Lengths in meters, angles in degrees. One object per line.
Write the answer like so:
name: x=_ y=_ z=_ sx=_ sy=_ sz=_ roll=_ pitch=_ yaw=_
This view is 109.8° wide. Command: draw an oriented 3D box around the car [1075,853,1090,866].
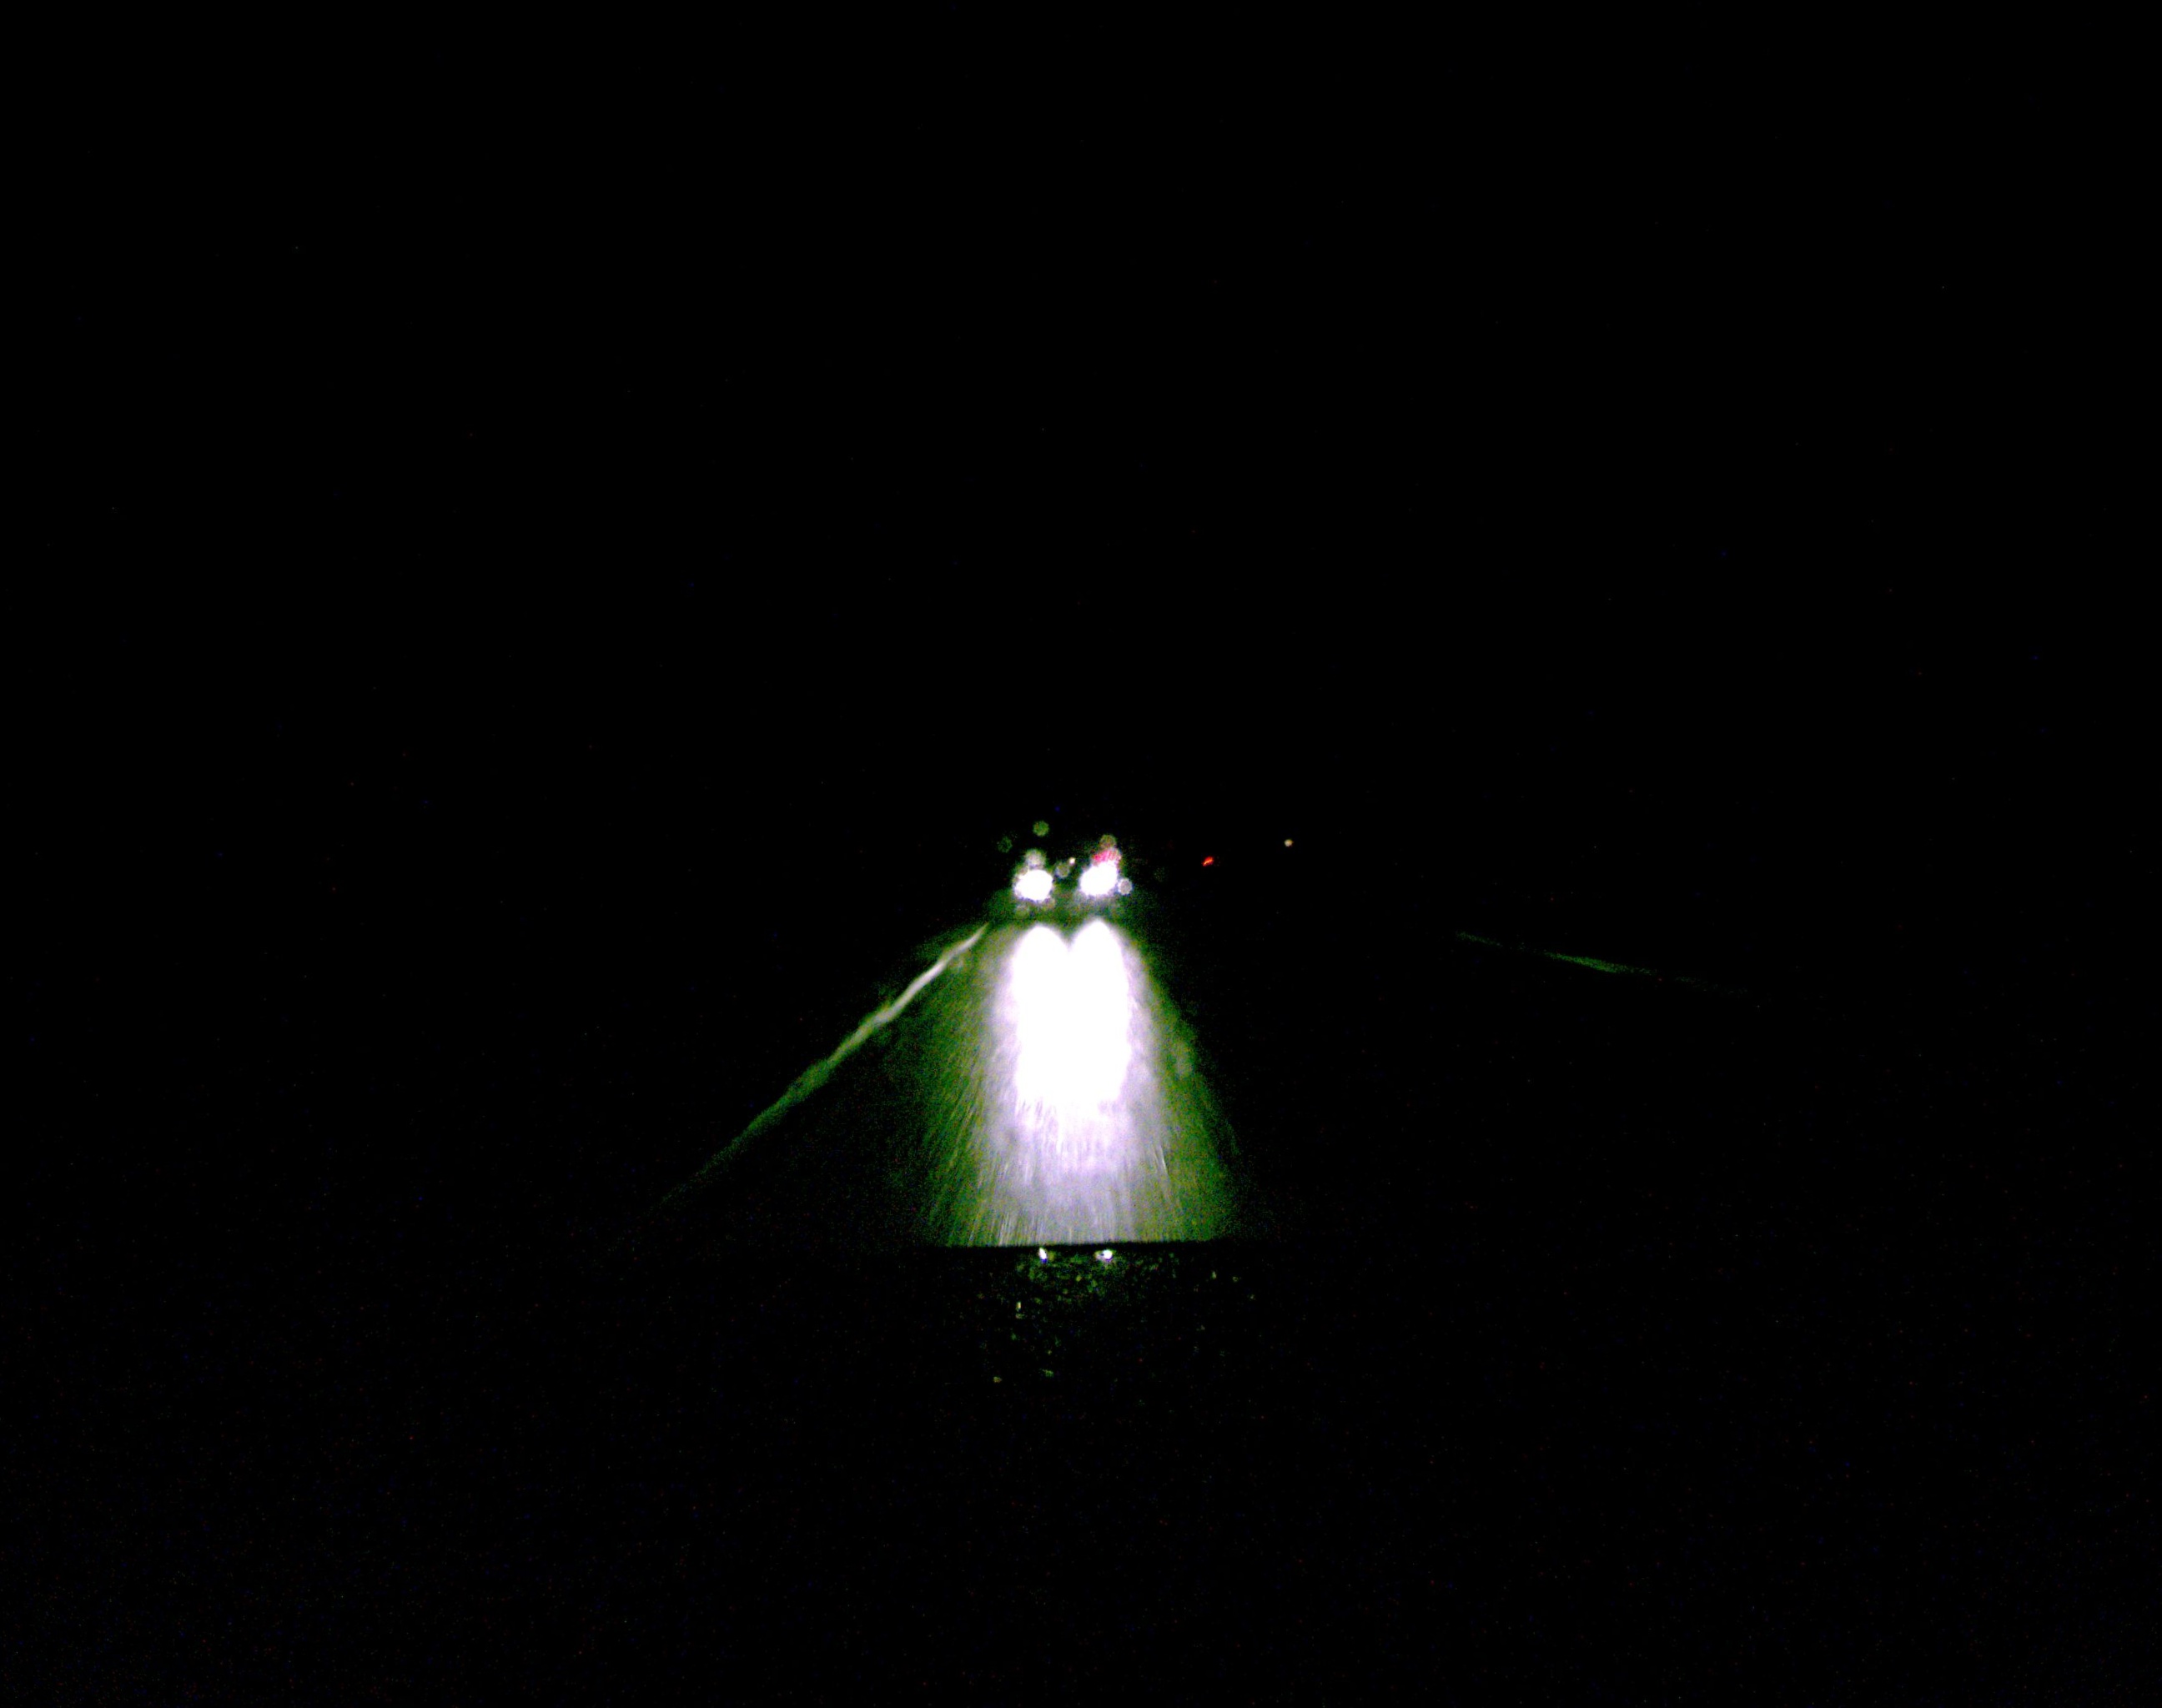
car: x=0.194 y=0.696 z=103.719 sx=1.846 sy=1.565 sz=4.000 roll=-2 pitch=1 yaw=1

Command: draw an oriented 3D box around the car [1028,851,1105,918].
car: x=-0.319 y=0.745 z=20.824 sx=1.846 sy=1.565 sz=4.000 roll=-2 pitch=1 yaw=1

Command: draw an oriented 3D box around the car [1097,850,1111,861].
car: x=3.517 y=0.204 z=116.279 sx=1.909 sy=1.461 sz=4.273 roll=-4 pitch=0 yaw=-2
